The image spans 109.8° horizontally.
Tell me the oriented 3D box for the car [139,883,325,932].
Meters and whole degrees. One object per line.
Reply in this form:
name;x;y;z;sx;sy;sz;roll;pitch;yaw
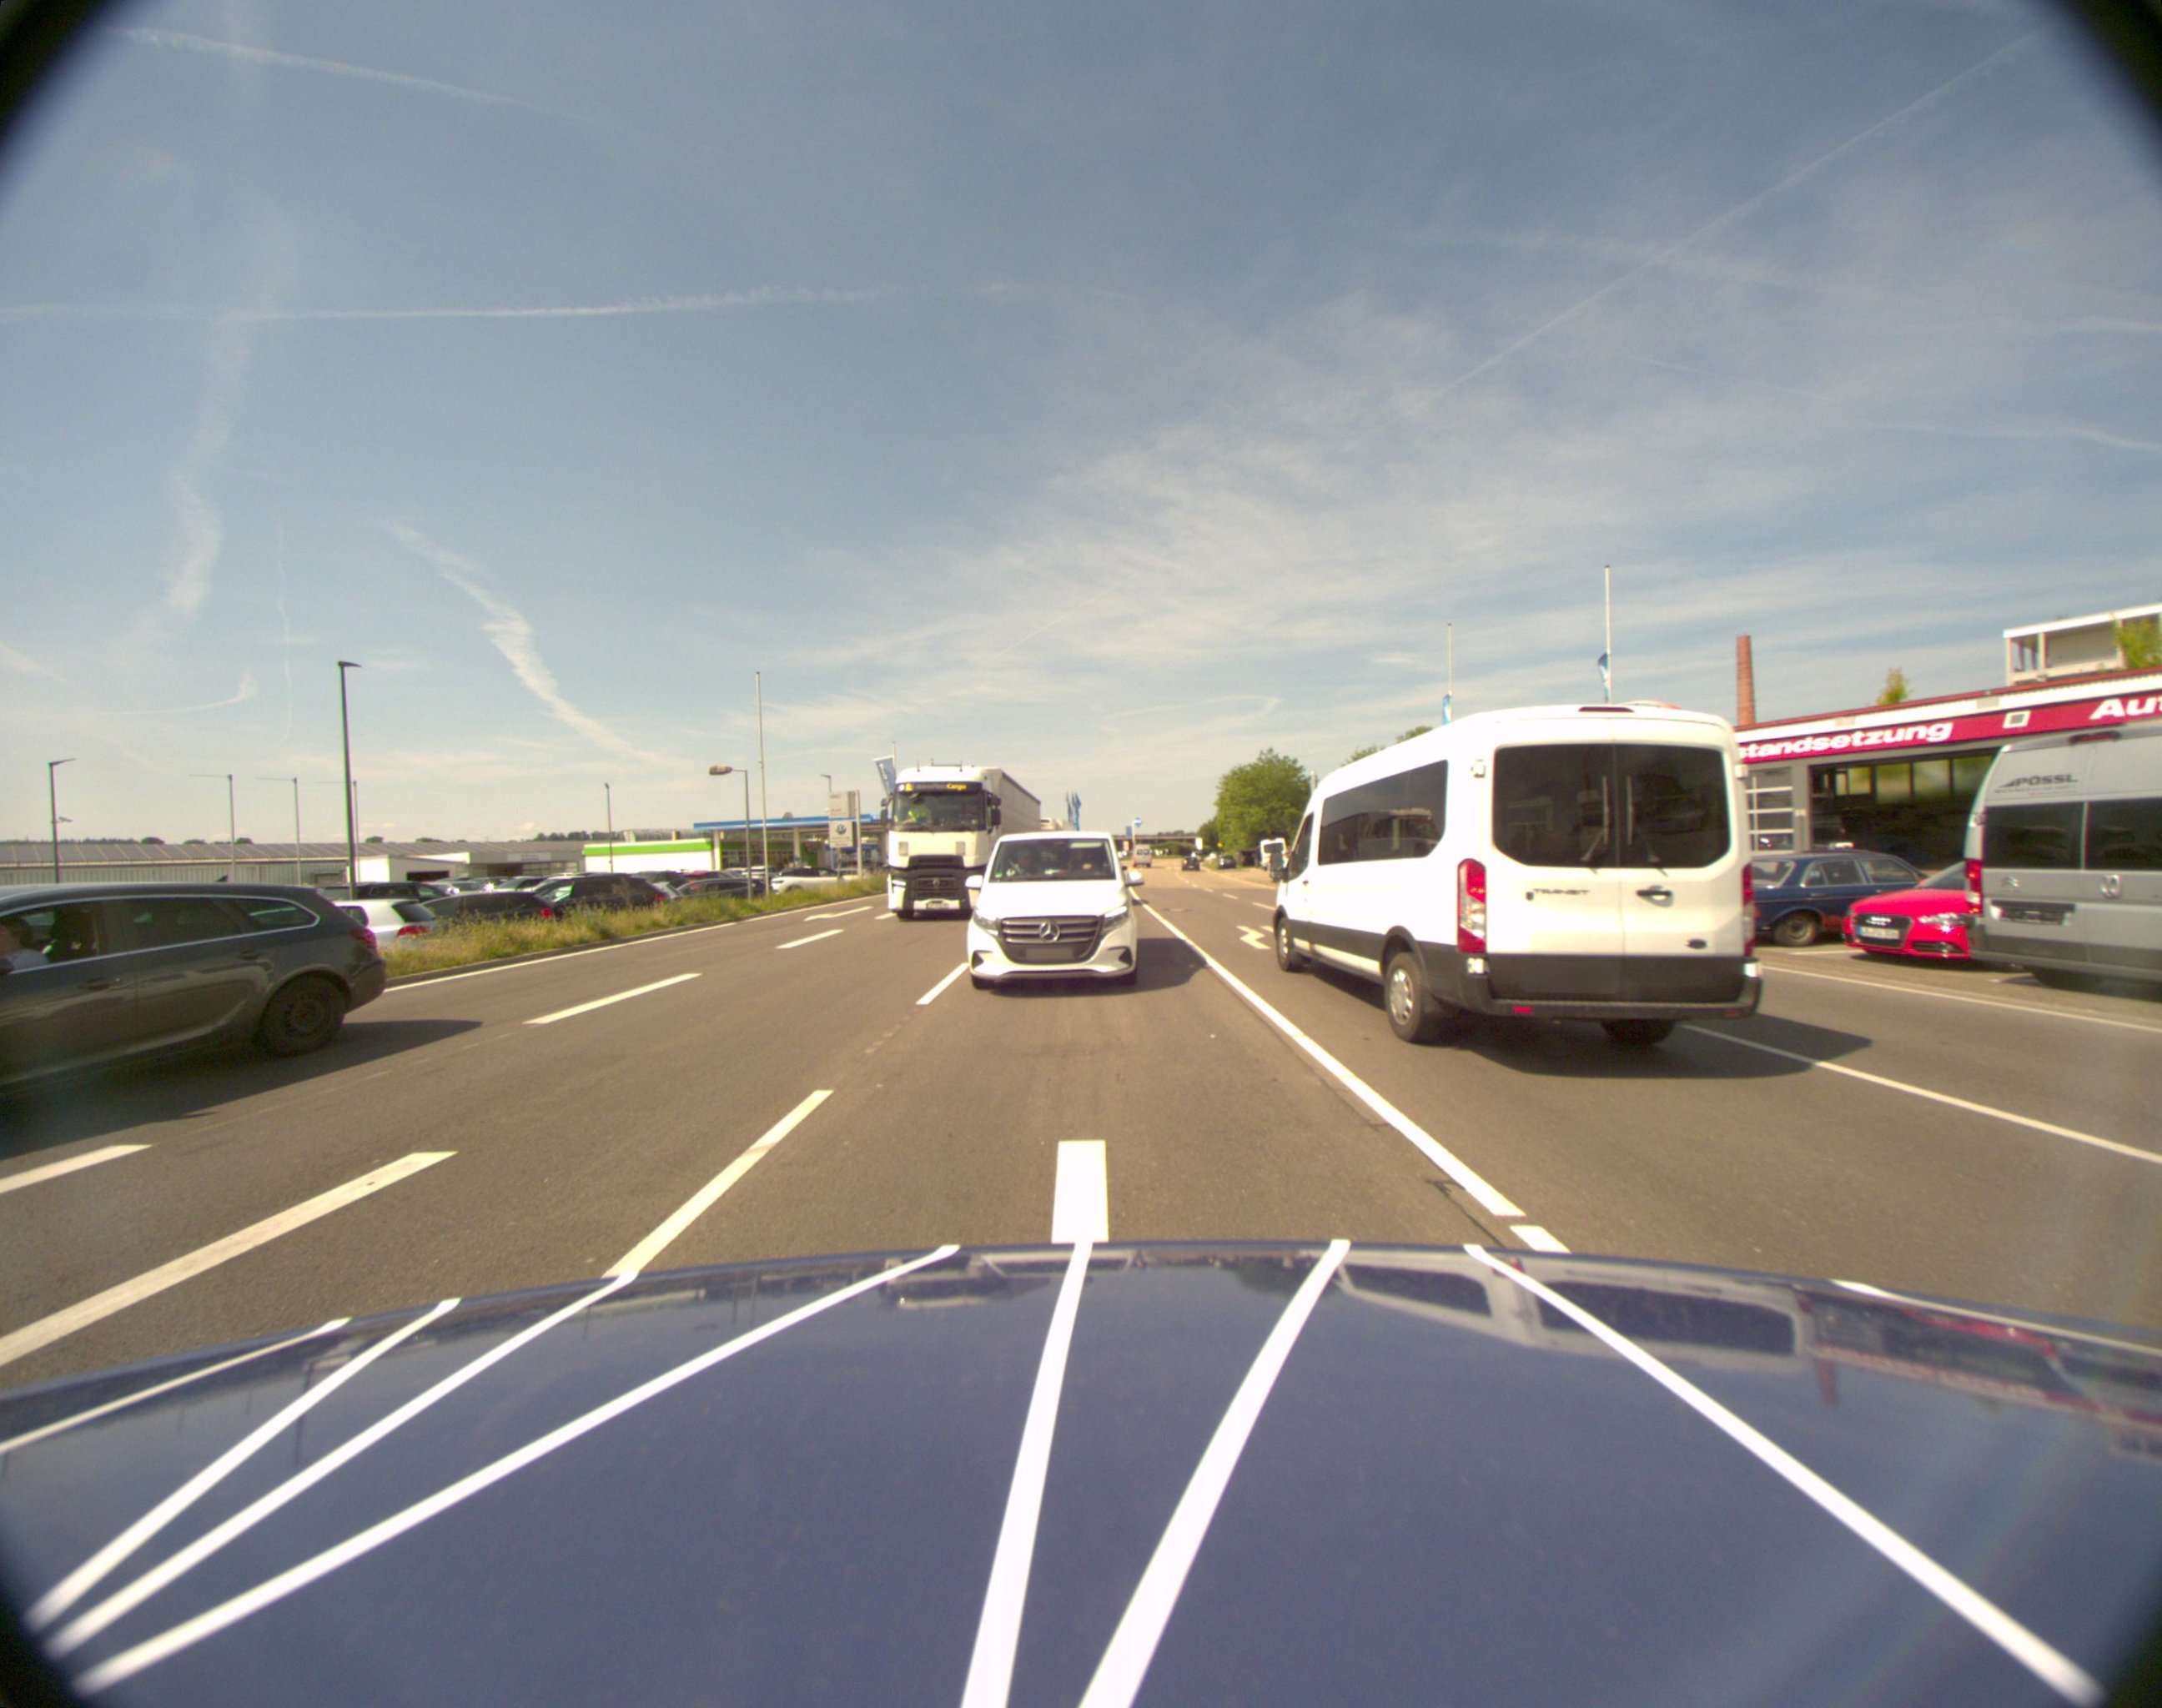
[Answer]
car;-33.638;2.050;30.285;1.819;1.574;4.545;-1;0;22

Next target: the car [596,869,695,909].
car;-20.871;1.639;36.675;1.774;1.645;4.540;-1;0;6

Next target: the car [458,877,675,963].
car;-11.882;1.440;17.835;4.006;1.645;1.772;-1;0;-32

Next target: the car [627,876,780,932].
car;-12.884;1.648;26.033;4.545;1.571;1.772;-1;0;-31

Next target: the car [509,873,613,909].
car;-25.812;1.810;37.904;1.689;1.517;4.540;-1;0;6

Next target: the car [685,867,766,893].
car;-23.195;1.708;49.670;4.532;1.571;1.777;-1;0;7

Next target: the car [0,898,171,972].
car;-29.388;2.268;21.399;1.821;1.719;4.540;-1;0;6

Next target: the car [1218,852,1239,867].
car;15.060;0.543;77.726;1.827;1.517;4.461;0;0;7

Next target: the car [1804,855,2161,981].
car;12.347;0.769;9.955;3.948;1.423;1.828;-1;0;2

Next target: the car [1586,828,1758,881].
car;20.629;0.021;26.795;1.877;1.644;4.530;-2;0;-16

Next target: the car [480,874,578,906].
car;-32.662;2.084;45.137;1.772;1.645;4.543;-1;0;16

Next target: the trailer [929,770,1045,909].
trailer;-3.152;-0.452;28.953;2.613;4.203;11.293;-1;0;2

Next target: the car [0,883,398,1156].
car;-7.413;1.052;4.891;1.999;1.511;4.449;-1;0;0

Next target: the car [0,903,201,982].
car;-26.885;2.295;20.044;1.774;1.645;4.540;-1;0;6

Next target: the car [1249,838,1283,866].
car;18.264;-0.188;75.376;2.438;2.529;5.341;-2;0;5

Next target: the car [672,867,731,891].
car;-27.202;1.760;54.610;1.720;1.571;4.325;-1;0;6

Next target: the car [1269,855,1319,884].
car;11.921;0.851;42.756;1.765;1.406;4.001;-5;0;3

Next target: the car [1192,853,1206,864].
car;18.687;0.677;120.455;1.975;1.812;4.205;0;0;7

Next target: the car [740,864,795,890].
car;-22.155;1.583;53.906;1.712;1.702;4.262;-1;0;6

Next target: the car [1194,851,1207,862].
car;19.539;0.386;124.530;2.053;1.812;4.511;0;0;7

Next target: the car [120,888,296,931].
car;-37.044;2.283;32.431;1.819;1.466;4.545;-1;0;22

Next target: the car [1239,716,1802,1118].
car;3.517;0.391;8.353;2.064;2.495;7.114;-1;0;0

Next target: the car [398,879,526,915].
car;-27.591;1.911;33.916;4.530;1.450;1.951;-1;0;12

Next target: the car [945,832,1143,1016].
car;-0.352;0.715;10.724;1.993;1.858;5.803;-1;0;1

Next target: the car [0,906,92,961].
car;-36.704;2.741;25.164;1.774;1.645;4.539;-1;0;5

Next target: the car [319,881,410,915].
car;-39.952;2.438;42.365;4.527;1.718;2.072;-1;0;24

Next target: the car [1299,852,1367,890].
car;11.881;0.748;36.108;1.998;1.546;4.001;-5;0;4

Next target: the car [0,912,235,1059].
car;-13.097;1.555;8.592;4.350;1.443;1.772;-1;0;-32

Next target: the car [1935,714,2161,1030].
car;12.243;0.098;7.255;5.579;2.756;2.177;-1;1;2

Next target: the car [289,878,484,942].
car;-21.782;1.691;24.142;1.774;1.645;4.539;-1;0;4

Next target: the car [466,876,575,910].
car;-28.115;1.903;38.333;1.774;1.432;4.540;-1;0;6

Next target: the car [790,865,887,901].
car;-12.413;1.444;38.926;4.543;1.645;1.772;-1;0;-25

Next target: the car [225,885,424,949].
car;-24.052;1.952;24.443;1.774;1.645;4.434;-1;0;4

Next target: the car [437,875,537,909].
car;-30.658;1.912;39.378;1.607;1.523;4.131;-1;0;6

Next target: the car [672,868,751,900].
car;-20.486;1.641;42.382;1.774;1.571;4.540;-1;0;6

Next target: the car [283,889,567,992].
car;-12.569;1.578;14.942;4.007;1.543;1.771;-1;0;-35

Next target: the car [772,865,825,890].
car;-19.808;1.597;53.503;1.774;1.571;4.150;-1;0;6

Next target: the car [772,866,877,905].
car;-12.199;1.446;36.194;4.544;1.645;1.772;-1;0;-26

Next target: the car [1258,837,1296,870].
car;16.589;-0.072;63.980;2.435;2.529;6.050;-2;0;20

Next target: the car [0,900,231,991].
car;-23.940;2.099;18.281;1.969;1.645;4.536;-1;0;-3

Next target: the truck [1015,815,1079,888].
truck;-1.883;-0.145;46.089;2.646;3.963;9.241;-1;0;4

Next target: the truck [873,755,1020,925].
truck;-3.422;-0.336;20.987;2.647;3.963;6.042;-1;0;2

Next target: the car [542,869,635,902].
car;-28.051;1.783;43.475;1.773;1.645;4.541;-1;0;10

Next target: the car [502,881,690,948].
car;-12.806;1.552;20.379;4.005;1.449;1.772;-1;0;-25

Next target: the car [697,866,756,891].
car;-24.933;1.712;53.652;1.774;1.571;4.240;-1;0;6

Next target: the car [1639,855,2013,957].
car;12.039;0.799;12.521;4.258;1.459;1.874;-1;0;2

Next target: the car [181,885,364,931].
car;-31.217;2.036;29.544;1.819;1.423;4.491;-1;0;22

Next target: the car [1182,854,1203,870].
car;11.014;0.778;75.238;1.858;1.452;4.002;-1;0;6

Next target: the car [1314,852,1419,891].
car;12.289;0.721;32.923;3.798;1.542;1.941;-1;0;-1

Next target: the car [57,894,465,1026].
car;-12.536;1.534;12.035;4.005;1.549;1.709;-1;0;-27

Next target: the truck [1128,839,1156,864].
truck;7.107;-0.265;89.162;2.442;2.820;6.040;-1;0;-3

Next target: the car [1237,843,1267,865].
car;18.217;0.006;81.235;2.438;2.250;5.341;-2;0;5

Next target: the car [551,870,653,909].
car;-23.380;1.694;37.326;1.774;1.645;4.540;-1;0;6
